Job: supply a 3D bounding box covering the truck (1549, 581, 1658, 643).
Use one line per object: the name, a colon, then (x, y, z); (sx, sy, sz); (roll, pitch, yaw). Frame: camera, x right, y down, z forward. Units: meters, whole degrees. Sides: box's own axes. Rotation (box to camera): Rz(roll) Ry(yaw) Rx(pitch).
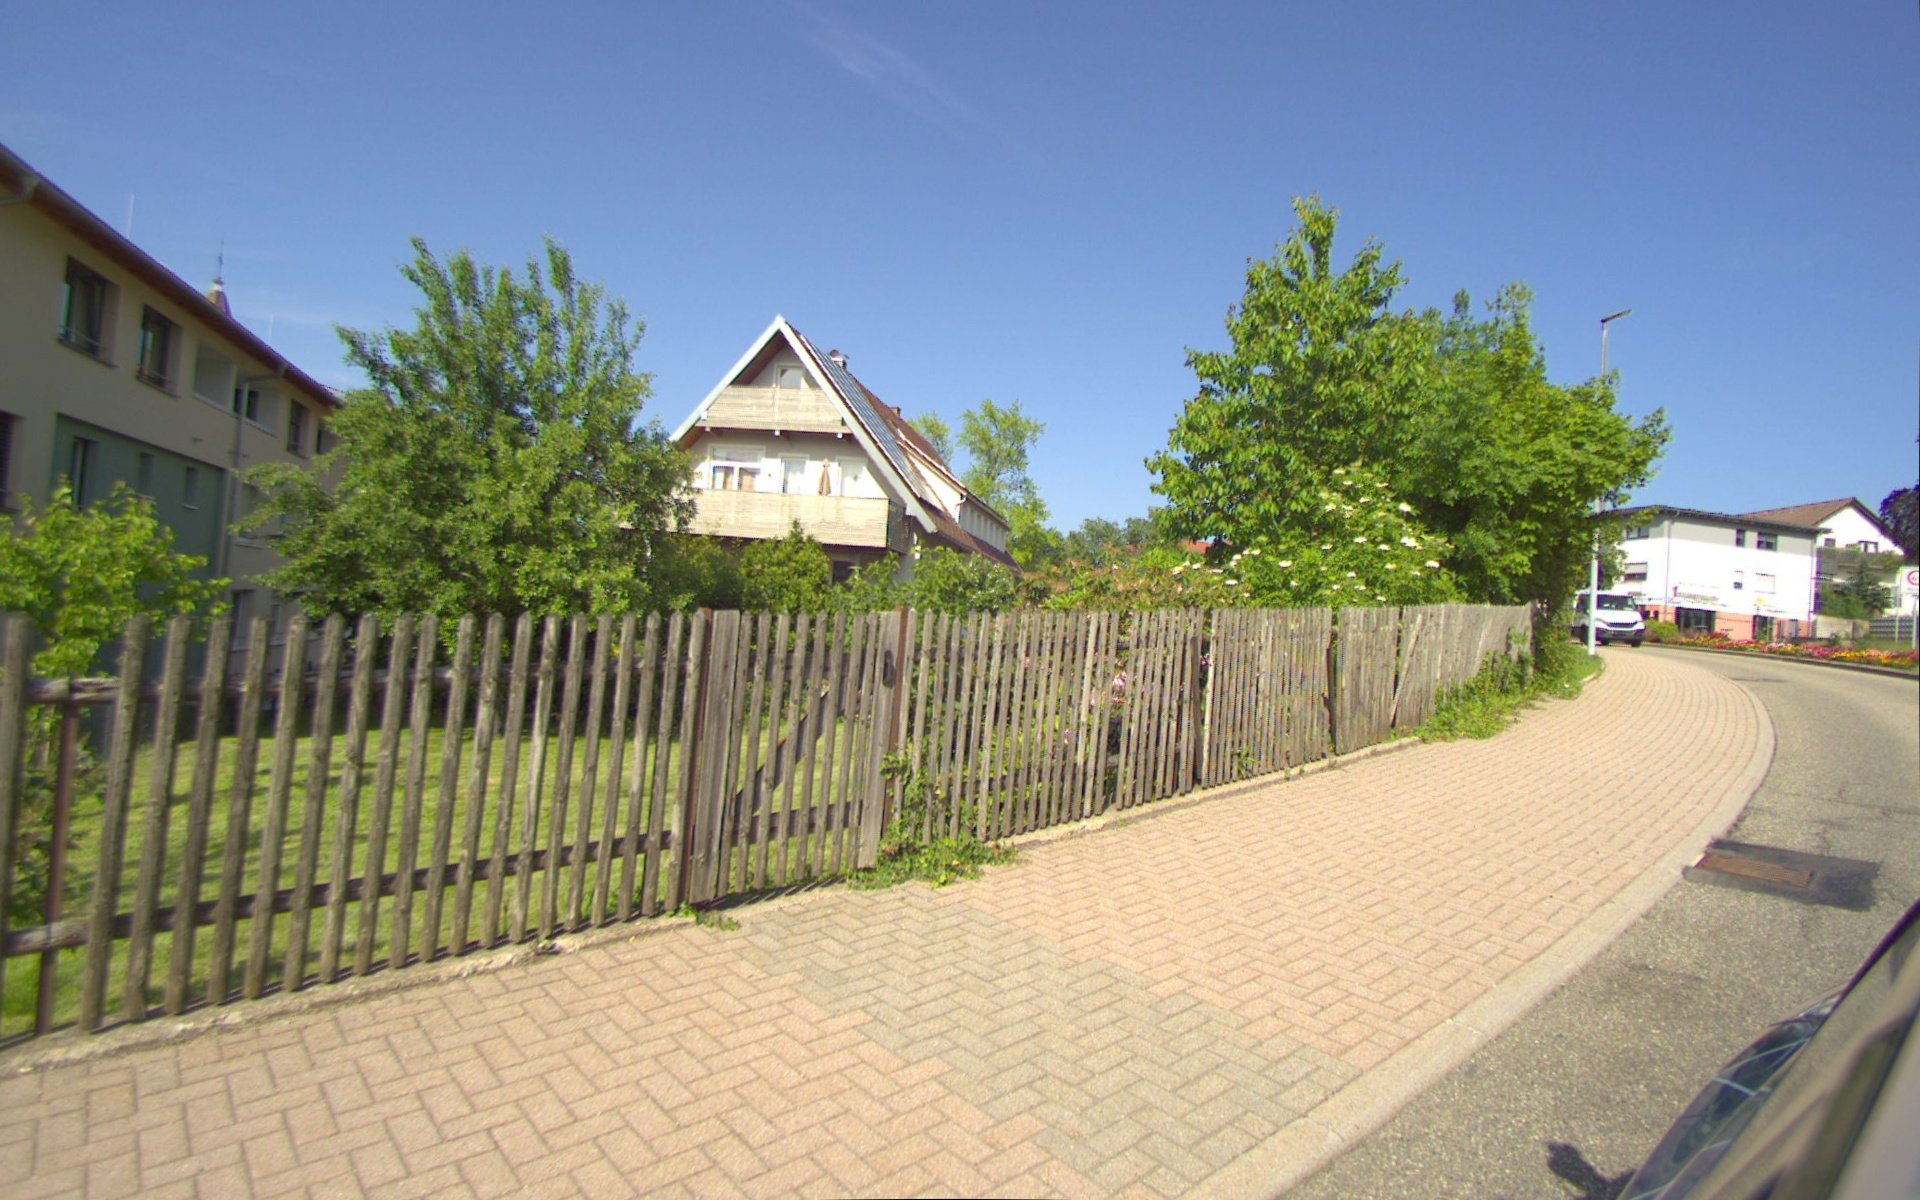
truck: (26.724, 0.586, 42.342); (1.972, 2.372, 6.459); (-1, -3, 16)
